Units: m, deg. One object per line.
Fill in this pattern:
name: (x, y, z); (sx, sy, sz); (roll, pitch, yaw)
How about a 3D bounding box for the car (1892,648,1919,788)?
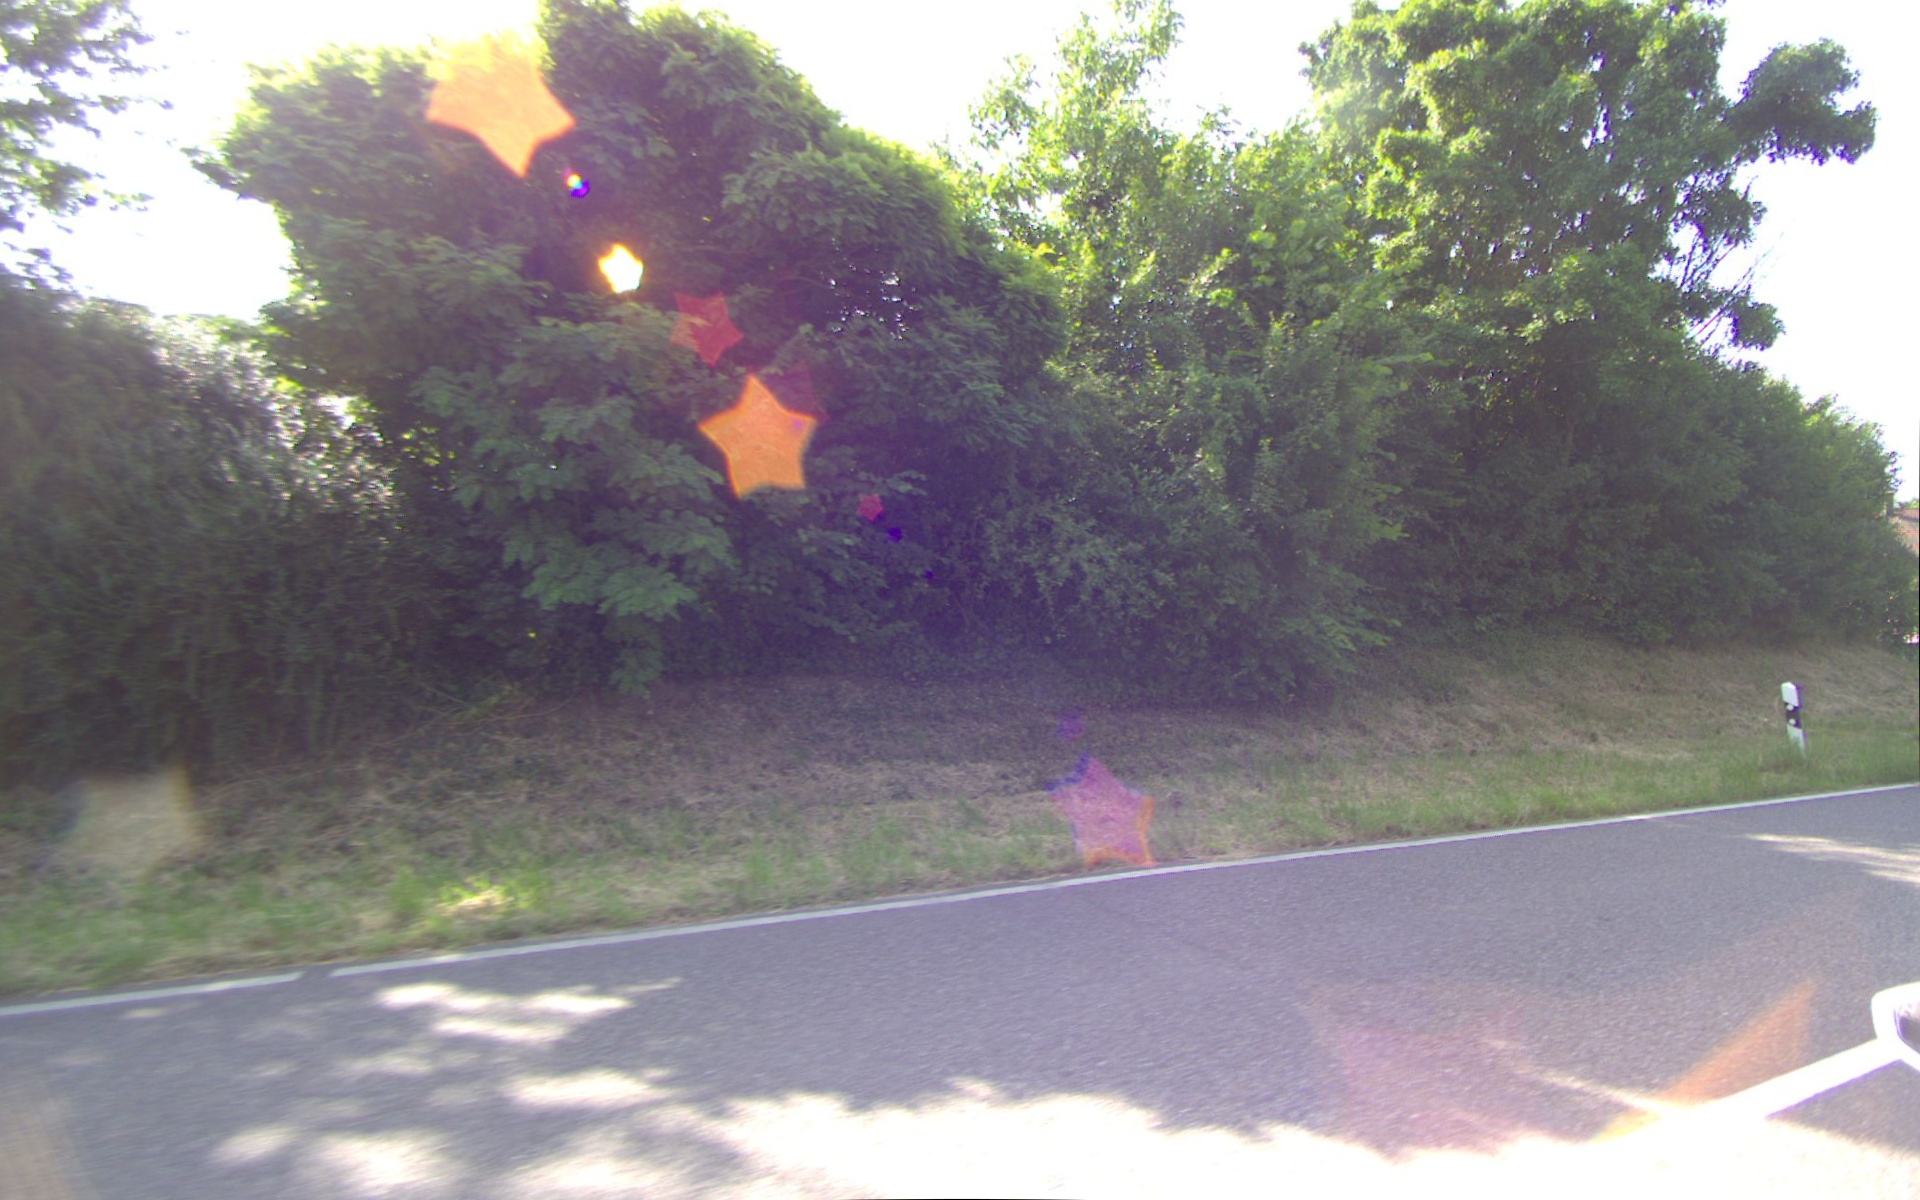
car: (12.247, 1.222, 10.804); (4.520, 1.442, 1.863); (1, -4, -28)
